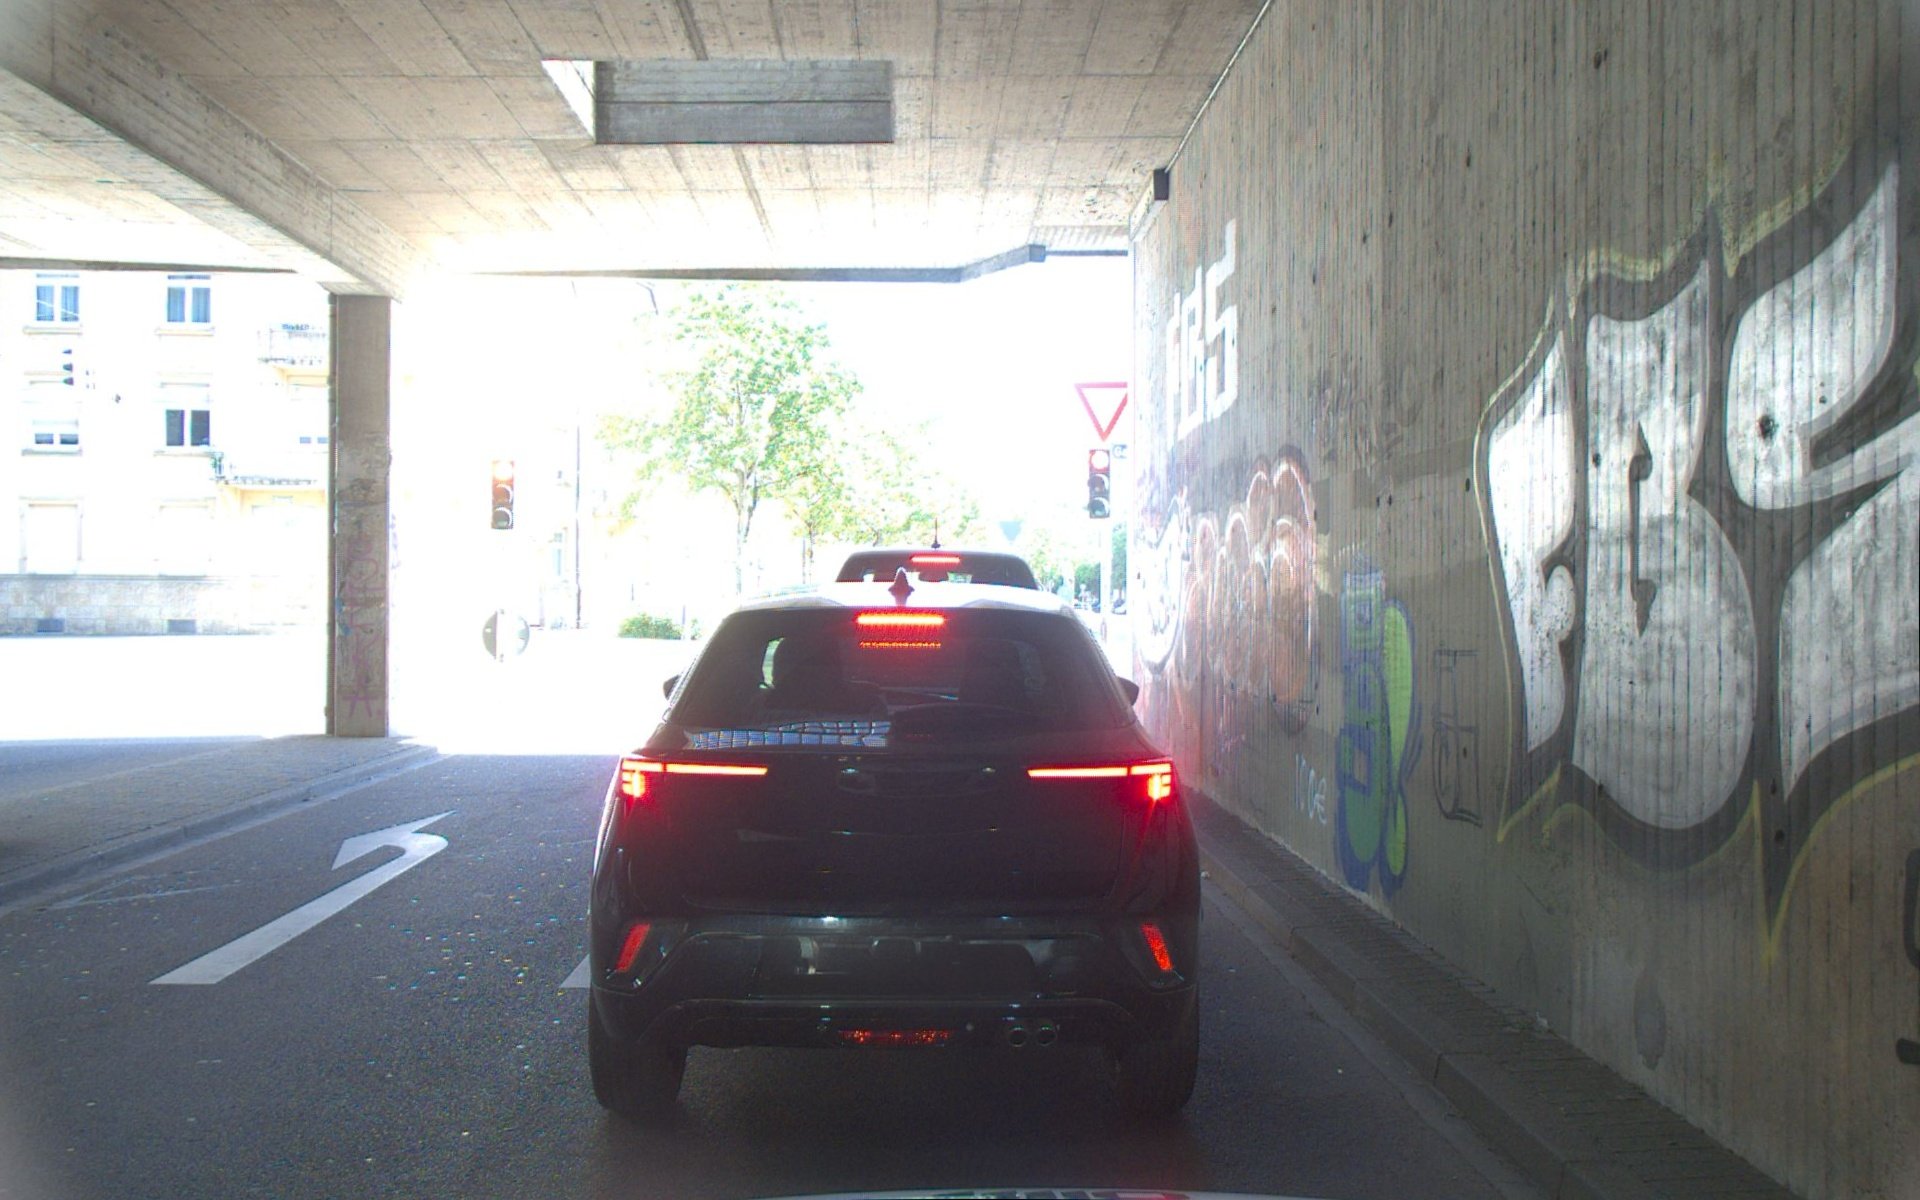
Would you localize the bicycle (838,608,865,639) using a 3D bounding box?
[{"bbox_3d":[-3.920,0.832,59.903,0.612,1.086,1.690,1,0,9],"label":"bicycle"}]

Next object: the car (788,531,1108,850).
[{"bbox_3d":[-0.097,0.528,11.870,1.906,1.892,3.963,0,0,-1],"label":"car"}]

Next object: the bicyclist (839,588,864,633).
[{"bbox_3d":[-3.925,0.366,59.873,0.713,1.609,0.815,1,-1,9],"label":"bicyclist"}]

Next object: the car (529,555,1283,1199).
[{"bbox_3d":[-0.157,0.667,6.046,1.844,1.565,3.963,0,0,-1],"label":"car"}]

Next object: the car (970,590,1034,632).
[{"bbox_3d":[1.621,0.440,62.202,1.926,1.523,3.899,0,-1,8],"label":"car"}]

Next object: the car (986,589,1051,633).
[{"bbox_3d":[2.466,0.483,69.024,2.173,1.749,4.463,0,-1,9],"label":"car"}]

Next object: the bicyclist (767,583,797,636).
[{"bbox_3d":[-5.539,0.303,51.441,0.713,1.609,0.815,1,-1,9],"label":"bicyclist"}]

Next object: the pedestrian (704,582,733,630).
[{"bbox_3d":[-10.437,0.241,71.616,0.971,2.049,1.089,0,0,7],"label":"pedestrian"}]

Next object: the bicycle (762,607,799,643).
[{"bbox_3d":[-5.558,0.768,51.408,0.716,1.086,1.690,1,0,9],"label":"bicycle"}]

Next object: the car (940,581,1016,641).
[{"bbox_3d":[0.496,0.334,44.165,1.927,1.523,3.896,0,-1,1],"label":"car"}]
